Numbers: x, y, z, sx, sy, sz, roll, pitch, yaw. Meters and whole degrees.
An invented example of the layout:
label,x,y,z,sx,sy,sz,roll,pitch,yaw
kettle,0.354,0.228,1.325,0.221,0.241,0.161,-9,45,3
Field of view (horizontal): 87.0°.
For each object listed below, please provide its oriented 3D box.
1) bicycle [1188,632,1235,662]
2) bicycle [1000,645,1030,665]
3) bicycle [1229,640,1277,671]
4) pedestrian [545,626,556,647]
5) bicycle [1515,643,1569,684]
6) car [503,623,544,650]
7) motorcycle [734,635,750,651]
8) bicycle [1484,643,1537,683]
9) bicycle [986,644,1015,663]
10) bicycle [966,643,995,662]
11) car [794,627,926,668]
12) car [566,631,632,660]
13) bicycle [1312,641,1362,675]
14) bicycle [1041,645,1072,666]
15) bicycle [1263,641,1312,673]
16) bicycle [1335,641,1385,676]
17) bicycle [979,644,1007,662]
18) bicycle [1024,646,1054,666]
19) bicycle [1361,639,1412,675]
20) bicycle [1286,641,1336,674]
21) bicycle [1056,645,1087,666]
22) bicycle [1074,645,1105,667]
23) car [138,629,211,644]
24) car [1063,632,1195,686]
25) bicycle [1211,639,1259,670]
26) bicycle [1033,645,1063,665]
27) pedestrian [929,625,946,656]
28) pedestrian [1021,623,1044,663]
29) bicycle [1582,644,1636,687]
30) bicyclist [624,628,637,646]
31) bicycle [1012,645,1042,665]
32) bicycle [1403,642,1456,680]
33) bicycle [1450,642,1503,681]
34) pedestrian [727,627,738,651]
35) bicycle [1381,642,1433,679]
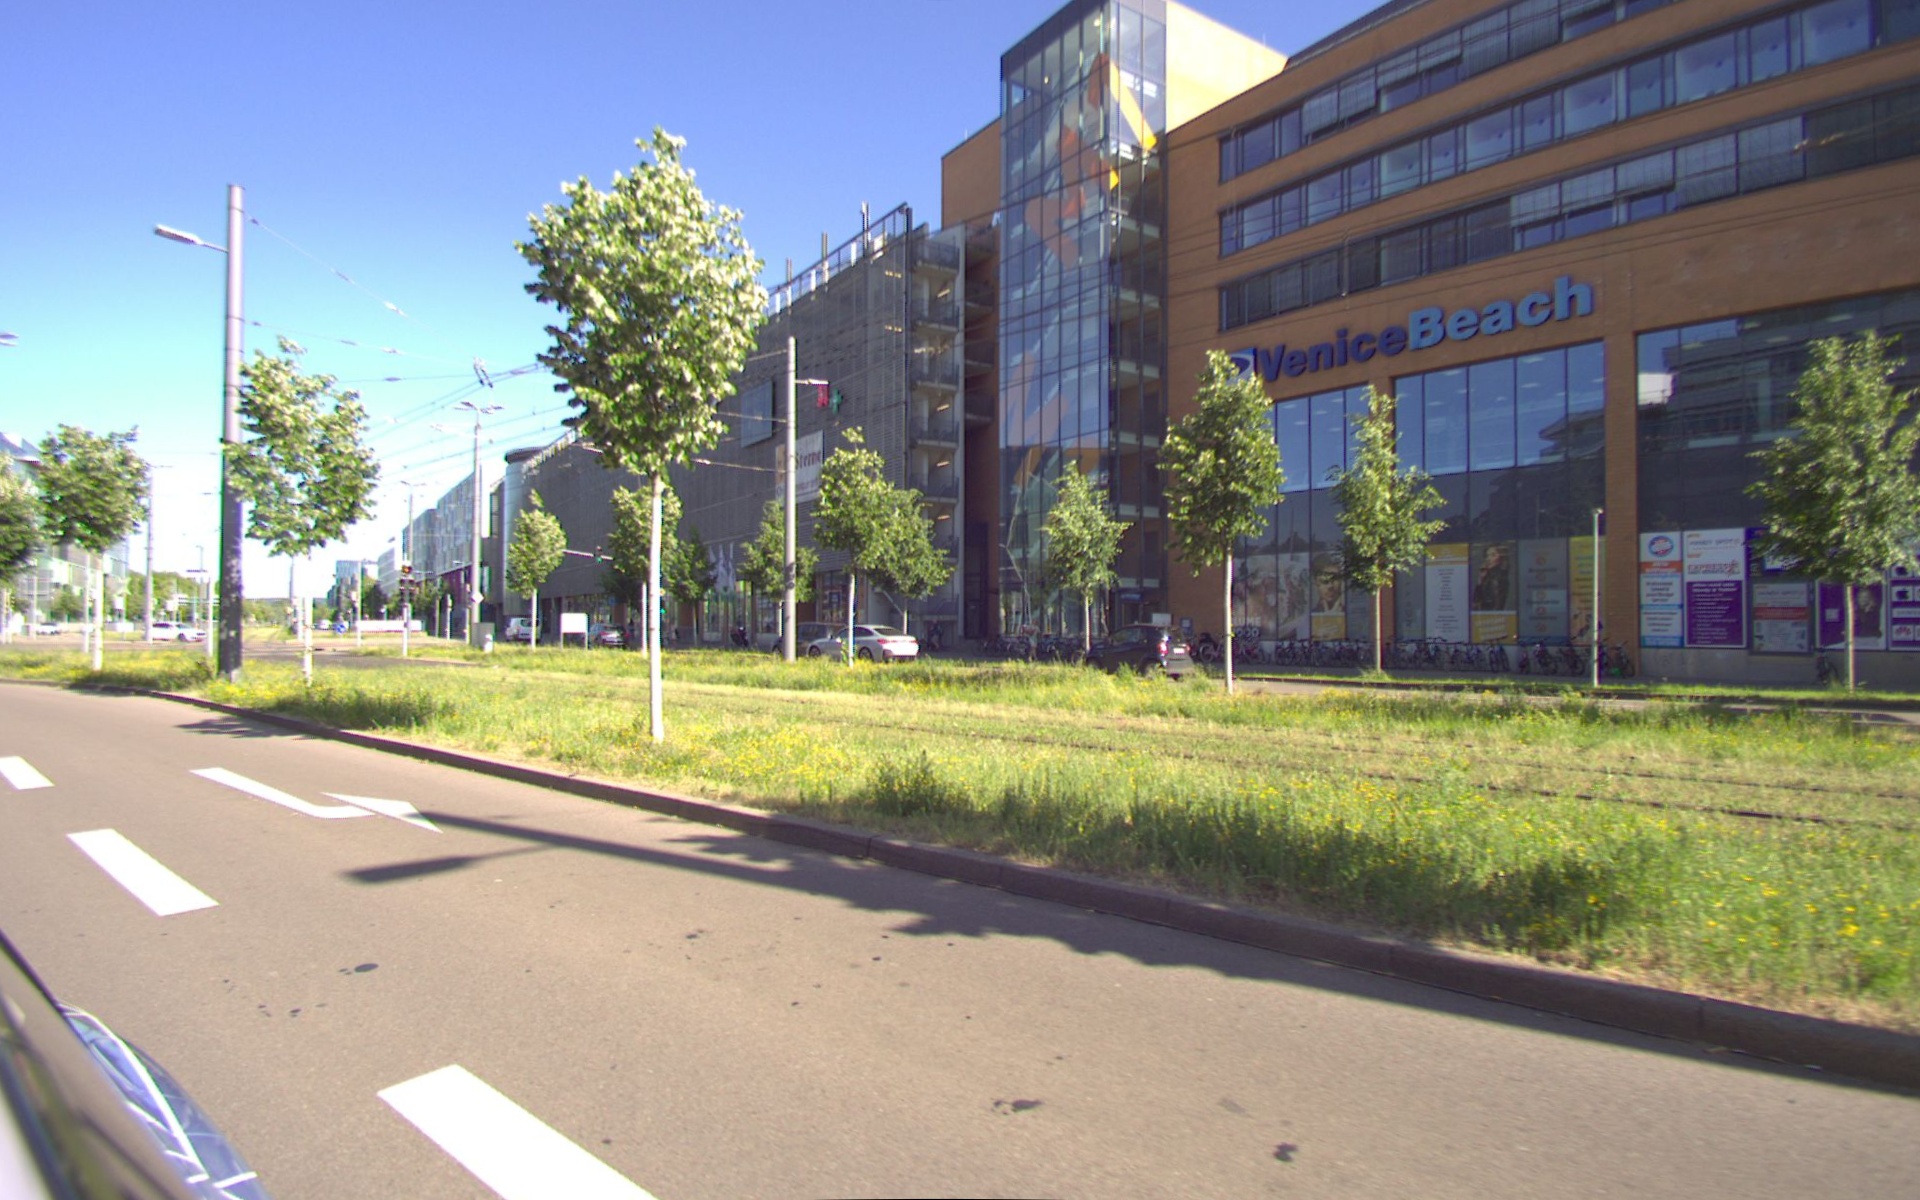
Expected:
label,x,y,z,sx,sy,sz,roll,pitch,yaw
bicycle,10.211,1.891,41.044,2.146,1.132,0.754,0,-1,-42
bicycle,2.483,2.483,45.756,1.428,0.825,0.446,0,-1,-42
bicycle,11.390,2.132,39.253,2.146,1.132,0.754,0,-1,-42
pedestrian,-33.757,3.011,83.386,0.624,1.765,0.582,-1,-2,36
bicycle,17.740,1.913,30.825,2.146,1.132,0.754,0,-1,-42
car,-34.302,2.861,79.478,2.190,2.029,5.271,1,-2,-31
motorcycle,-14.377,2.837,66.667,0.395,1.046,1.623,1,-2,-35
bicycle,17.217,1.947,31.622,2.146,1.132,0.754,0,-1,-42
bicycle,1.873,2.486,47.078,1.428,0.825,0.446,0,-1,-42
bicycle,0.985,2.481,48.076,1.428,0.825,0.446,0,-1,-42
car,-3.542,1.617,35.333,4.791,1.344,1.971,-2,-2,44
car,-21.639,2.700,60.616,4.540,1.694,1.971,-2,-2,45
bicycle,13.535,2.064,36.341,2.146,1.132,0.754,0,-1,-42
bicycle,4.154,2.375,43.611,1.428,0.825,0.446,0,-1,-42
bicycle,12.318,2.119,38.000,2.146,1.132,0.754,0,-1,-42
bicycle,14.079,2.051,35.592,2.146,1.132,0.754,0,-1,-42
bicycle,1.552,2.485,47.527,1.428,0.825,0.446,0,-1,-42
bicycle,3.497,2.458,44.528,1.428,0.825,0.446,0,-1,-42
bicycle,14.691,1.956,34.824,2.146,1.132,0.754,0,-1,-42
bicycle,12.897,2.091,37.166,2.146,1.132,0.754,0,-1,-42
bicycle,4.747,2.361,42.937,1.428,0.825,0.446,0,-1,-42
bicycle,5.413,2.329,42.260,1.428,0.825,0.446,0,-1,-42
car,-59.050,2.741,76.145,3.941,1.098,2.001,0,-2,-2
car,4.509,1.544,27.246,3.295,1.370,1.413,-1,-2,42
bicycle,10.877,2.157,40.007,2.146,1.132,0.754,0,-1,-42
bicycle,3.842,2.379,44.045,1.428,0.825,0.446,0,-1,-42
pedestrian,-1.161,2.101,52.627,0.626,1.565,0.663,1,-2,-30
pedestrian,3.089,1.825,42.932,0.778,1.698,0.589,-2,-2,41
bicycle,18.867,1.889,29.389,2.146,1.132,0.754,0,-1,-42
bicyclist,-26.015,2.942,79.921,0.584,1.418,1.316,1,-2,-34
bicycle,3.002,2.455,45.048,1.428,0.825,0.446,0,-1,-42
bicycle,15.432,1.991,33.226,2.146,1.132,0.754,0,-1,-42
bicycle,16.547,1.958,32.393,2.146,1.132,0.754,0,-1,-42
pedestrian,-14.809,2.547,65.931,0.483,1.530,0.651,1,-2,-31
bicycle,15.051,2.012,34.039,2.146,1.132,0.754,0,-1,-42
